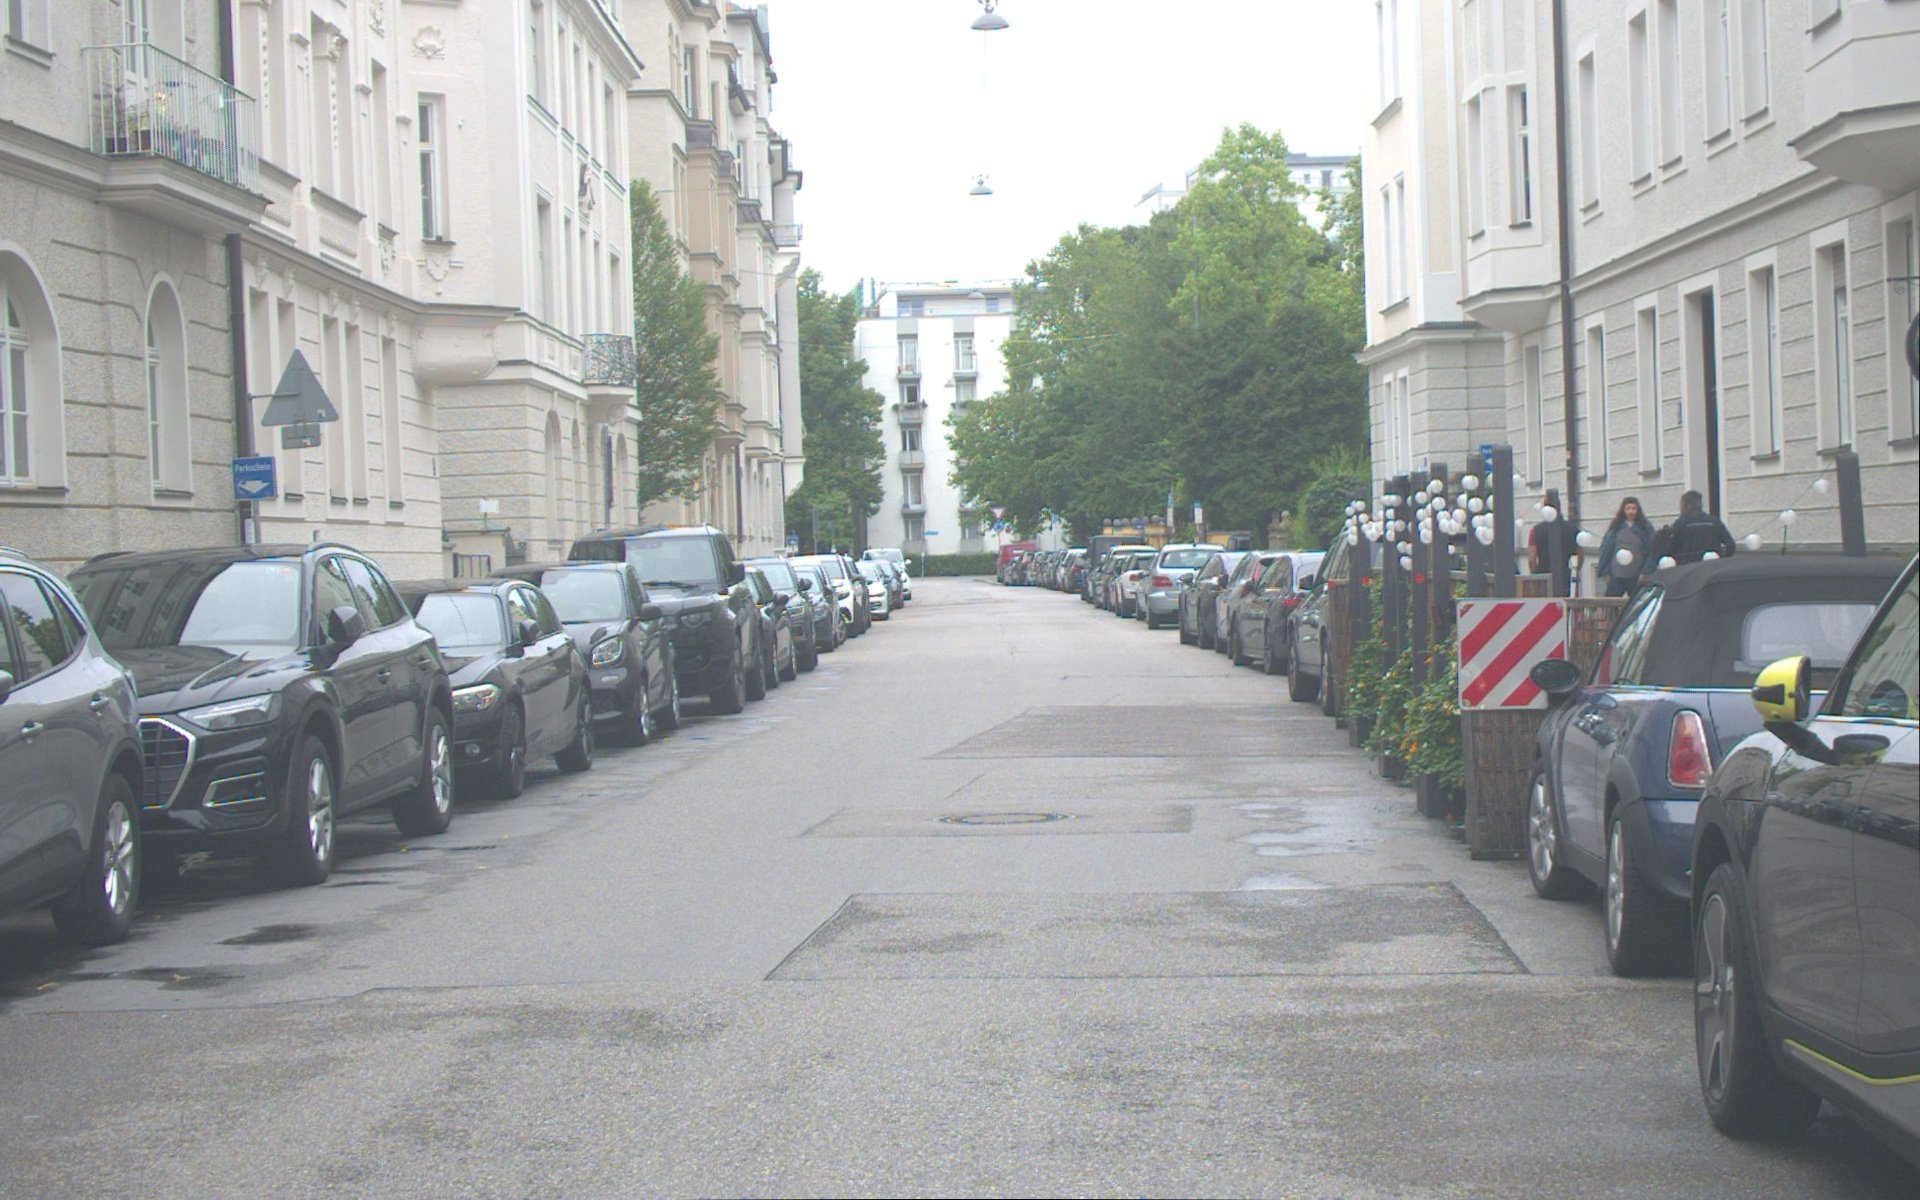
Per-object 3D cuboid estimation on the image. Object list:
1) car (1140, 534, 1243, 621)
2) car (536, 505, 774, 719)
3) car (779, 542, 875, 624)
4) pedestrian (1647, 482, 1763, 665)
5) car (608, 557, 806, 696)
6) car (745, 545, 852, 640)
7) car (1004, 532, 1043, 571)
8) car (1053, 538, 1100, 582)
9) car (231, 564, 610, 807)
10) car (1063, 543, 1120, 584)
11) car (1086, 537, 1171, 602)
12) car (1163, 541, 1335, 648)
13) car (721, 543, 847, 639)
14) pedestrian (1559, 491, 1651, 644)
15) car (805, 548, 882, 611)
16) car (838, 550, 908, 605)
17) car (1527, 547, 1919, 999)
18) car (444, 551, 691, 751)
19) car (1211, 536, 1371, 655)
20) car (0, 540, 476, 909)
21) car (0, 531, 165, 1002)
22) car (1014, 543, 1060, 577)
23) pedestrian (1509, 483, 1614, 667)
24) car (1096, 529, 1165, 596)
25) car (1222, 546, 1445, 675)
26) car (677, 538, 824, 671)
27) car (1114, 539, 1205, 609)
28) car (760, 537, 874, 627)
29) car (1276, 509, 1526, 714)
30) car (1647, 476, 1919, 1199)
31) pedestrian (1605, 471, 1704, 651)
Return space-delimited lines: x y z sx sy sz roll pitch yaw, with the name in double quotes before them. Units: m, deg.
"car" 4.374 -0.453 65.398 1.822 1.564 4.400 1 1 2
"car" -2.985 0.062 34.554 1.836 1.888 4.763 -4 1 0
"car" -2.801 -0.393 72.970 1.836 1.613 4.245 -2 1 0
"pedestrian" 7.450 -0.274 34.402 0.883 1.780 1.111 -2 1 1
"car" -2.911 0.273 40.420 1.836 1.389 4.245 -4 1 1
"car" -2.945 -0.158 62.385 1.782 1.536 4.258 -4 1 -3
"car" 3.150 -2.422 170.936 1.836 1.920 4.004 1 1 2
"car" 4.449 -1.520 131.413 1.513 1.656 3.674 -1 0 -2
"car" -3.577 0.514 23.474 1.654 1.402 4.091 -3 1 3
"car" 4.631 -1.283 121.685 1.838 1.408 4.342 -1 0 0
"car" 4.308 -0.806 88.596 1.750 1.605 4.424 0 1 -3
"car" 4.254 -0.111 51.313 1.993 1.452 4.713 -2 1 -2
"car" -2.915 -0.174 57.689 1.792 1.410 4.279 -4 1 0
"pedestrian" 7.806 -0.404 41.673 0.883 1.807 1.111 -2 1 1
"car" -2.975 -0.543 88.432 1.836 1.429 4.245 -3 1 -1
"car" -2.586 -0.690 103.156 1.836 1.431 4.245 -5 1 1
"car" 3.159 0.530 12.671 1.666 1.395 3.492 1 1 2
"car" -3.288 0.387 29.376 1.616 1.508 3.532 -3 1 0
"car" 4.412 -0.104 46.362 1.760 1.480 4.420 1 1 1
"car" -3.881 0.531 17.678 1.876 1.594 4.433 -2 1 3
"car" -4.367 0.617 12.648 1.836 1.672 4.213 -2 1 0
"car" 3.572 -1.856 160.127 1.838 1.513 3.948 -1 0 -3
"pedestrian" 6.064 -0.263 34.711 0.883 1.805 1.111 -2 1 4
"car" 4.627 -1.024 93.770 1.723 1.763 4.413 1 0 1
"car" 4.354 0.076 40.787 1.836 1.394 4.975 0 1 -3
"car" -2.792 0.029 46.468 1.726 1.613 4.122 -4 1 -1
"car" 4.400 -0.593 76.399 1.784 1.499 4.065 -1 1 0
"car" -2.770 -0.384 67.472 1.915 1.613 4.571 -2 1 1
"car" 3.893 0.049 30.945 1.800 1.669 4.189 -2 1 2
"car" 2.760 0.561 7.471 1.836 1.613 4.094 1 1 2
"pedestrian" 7.949 -0.454 39.373 0.883 2.007 1.111 -2 1 1
